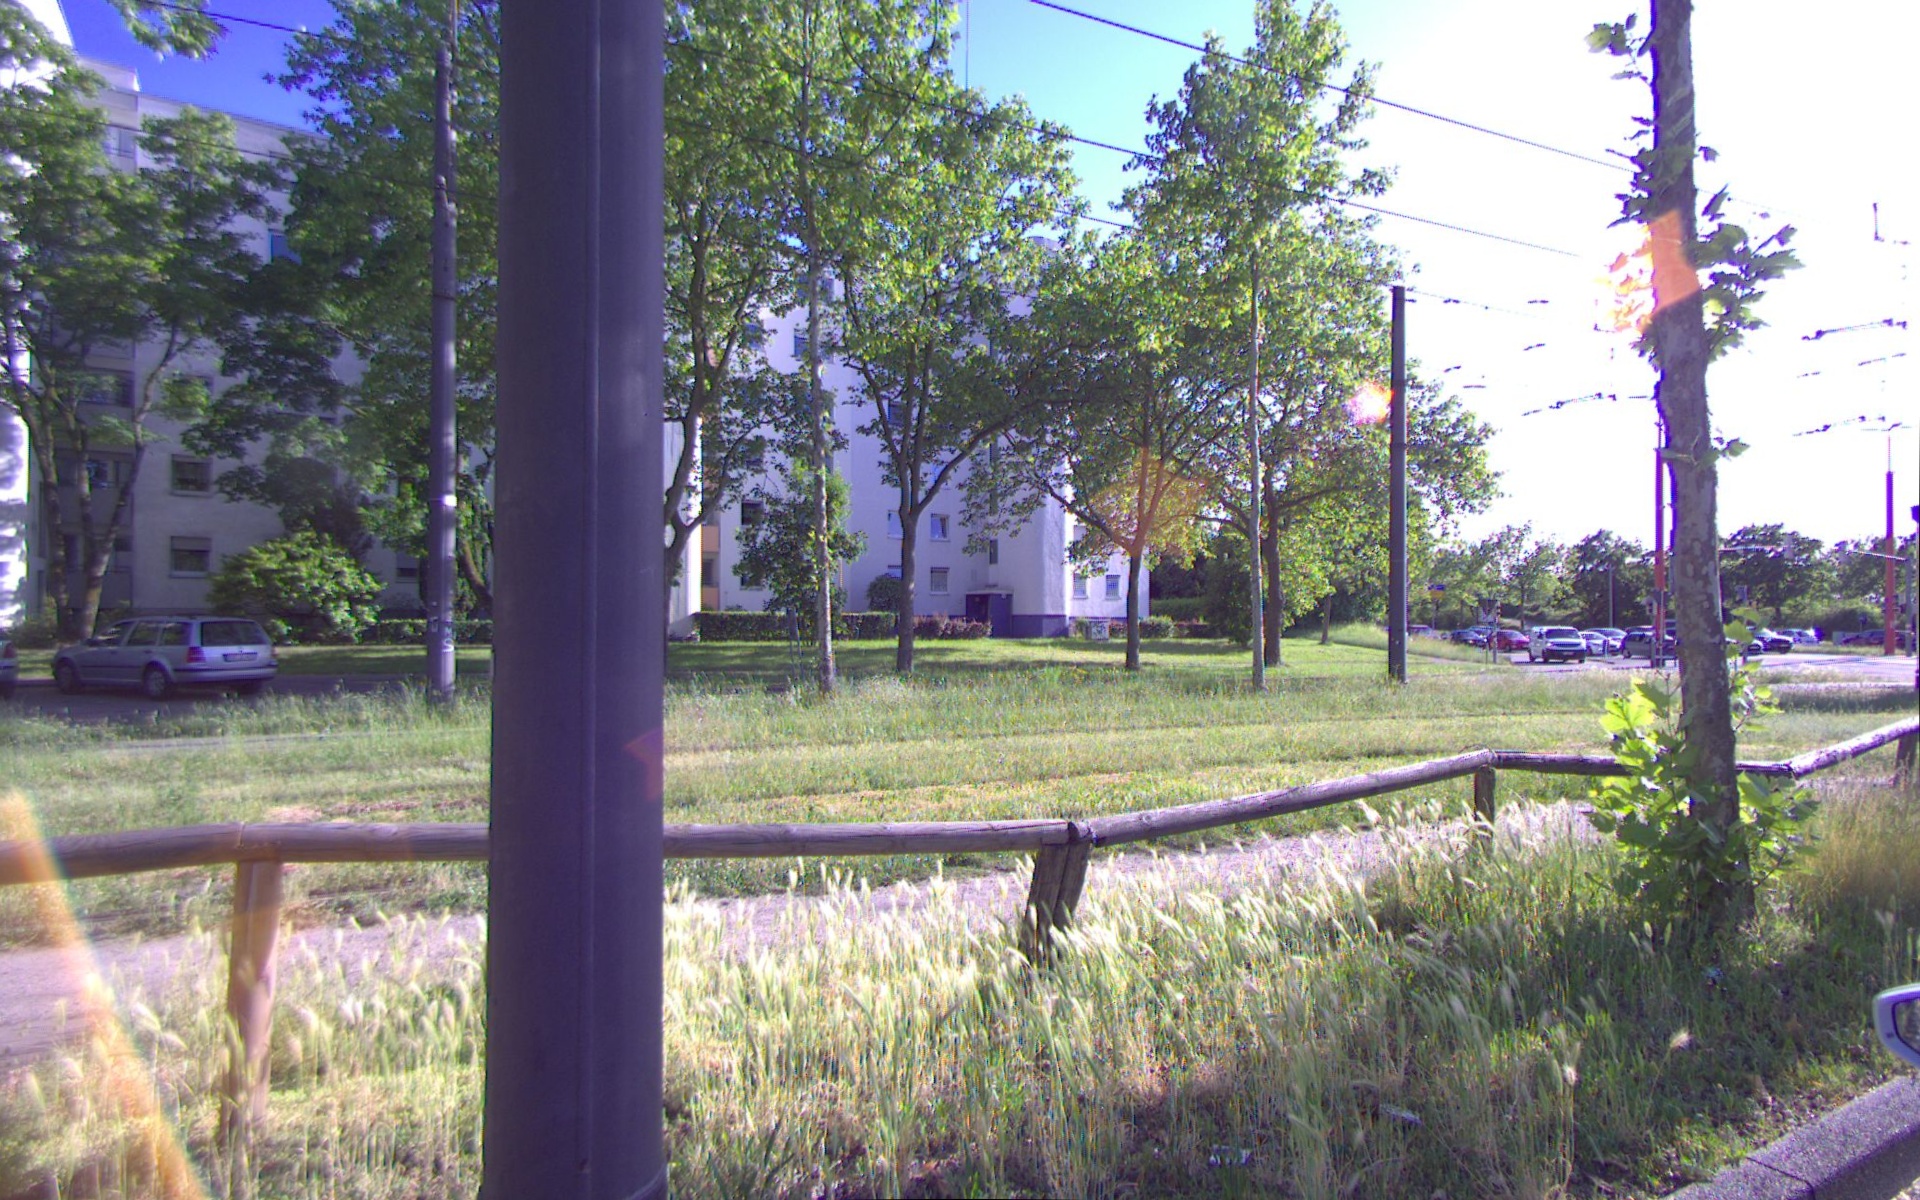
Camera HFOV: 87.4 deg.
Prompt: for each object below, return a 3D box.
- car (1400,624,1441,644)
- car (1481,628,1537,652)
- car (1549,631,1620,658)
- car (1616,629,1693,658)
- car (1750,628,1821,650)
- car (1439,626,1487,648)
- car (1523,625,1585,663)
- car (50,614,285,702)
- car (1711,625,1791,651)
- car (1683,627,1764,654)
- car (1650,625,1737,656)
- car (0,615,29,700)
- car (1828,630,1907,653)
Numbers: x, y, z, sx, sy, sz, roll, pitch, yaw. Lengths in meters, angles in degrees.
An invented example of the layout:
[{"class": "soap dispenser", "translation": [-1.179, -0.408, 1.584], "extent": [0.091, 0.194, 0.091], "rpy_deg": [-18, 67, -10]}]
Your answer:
[{"class": "car", "translation": [38.647, 2.814, 84.393], "extent": [1.624, 1.540, 4.200], "rpy_deg": [1, -1, 1]}, {"class": "car", "translation": [38.451, 2.775, 70.451], "extent": [1.624, 1.540, 4.200], "rpy_deg": [1, -1, 1]}, {"class": "car", "translation": [38.921, 2.755, 62.736], "extent": [1.624, 1.540, 4.638], "rpy_deg": [1, -1, 1]}, {"class": "car", "translation": [38.968, 2.407, 56.448], "extent": [1.624, 1.460, 3.841], "rpy_deg": [1, -1, -2]}, {"class": "car", "translation": [59.348, 2.773, 72.313], "extent": [1.624, 1.421, 4.131], "rpy_deg": [1, -1, -2]}, {"class": "car", "translation": [38.664, 2.815, 77.254], "extent": [1.624, 1.540, 4.200], "rpy_deg": [1, -1, 1]}, {"class": "car", "translation": [31.569, 2.300, 53.492], "extent": [1.796, 1.845, 4.903], "rpy_deg": [1, -1, 18]}, {"class": "car", "translation": [-14.534, 1.008, 18.431], "extent": [3.830, 1.421, 1.581], "rpy_deg": [1, 0, 20]}, {"class": "car", "translation": [48.656, 2.323, 61.896], "extent": [1.513, 1.434, 4.154], "rpy_deg": [1, -1, -3]}, {"class": "car", "translation": [45.577, 2.393, 60.062], "extent": [1.513, 1.434, 4.154], "rpy_deg": [1, -1, -3]}, {"class": "car", "translation": [42.330, 2.308, 58.105], "extent": [1.624, 1.669, 4.644], "rpy_deg": [1, -1, 1]}, {"class": "car", "translation": [-17.983, 0.944, 17.157], "extent": [3.567, 1.421, 1.581], "rpy_deg": [1, 0, 20]}, {"class": "car", "translation": [63.112, 2.875, 69.919], "extent": [1.625, 1.491, 4.130], "rpy_deg": [1, -1, -4]}]
